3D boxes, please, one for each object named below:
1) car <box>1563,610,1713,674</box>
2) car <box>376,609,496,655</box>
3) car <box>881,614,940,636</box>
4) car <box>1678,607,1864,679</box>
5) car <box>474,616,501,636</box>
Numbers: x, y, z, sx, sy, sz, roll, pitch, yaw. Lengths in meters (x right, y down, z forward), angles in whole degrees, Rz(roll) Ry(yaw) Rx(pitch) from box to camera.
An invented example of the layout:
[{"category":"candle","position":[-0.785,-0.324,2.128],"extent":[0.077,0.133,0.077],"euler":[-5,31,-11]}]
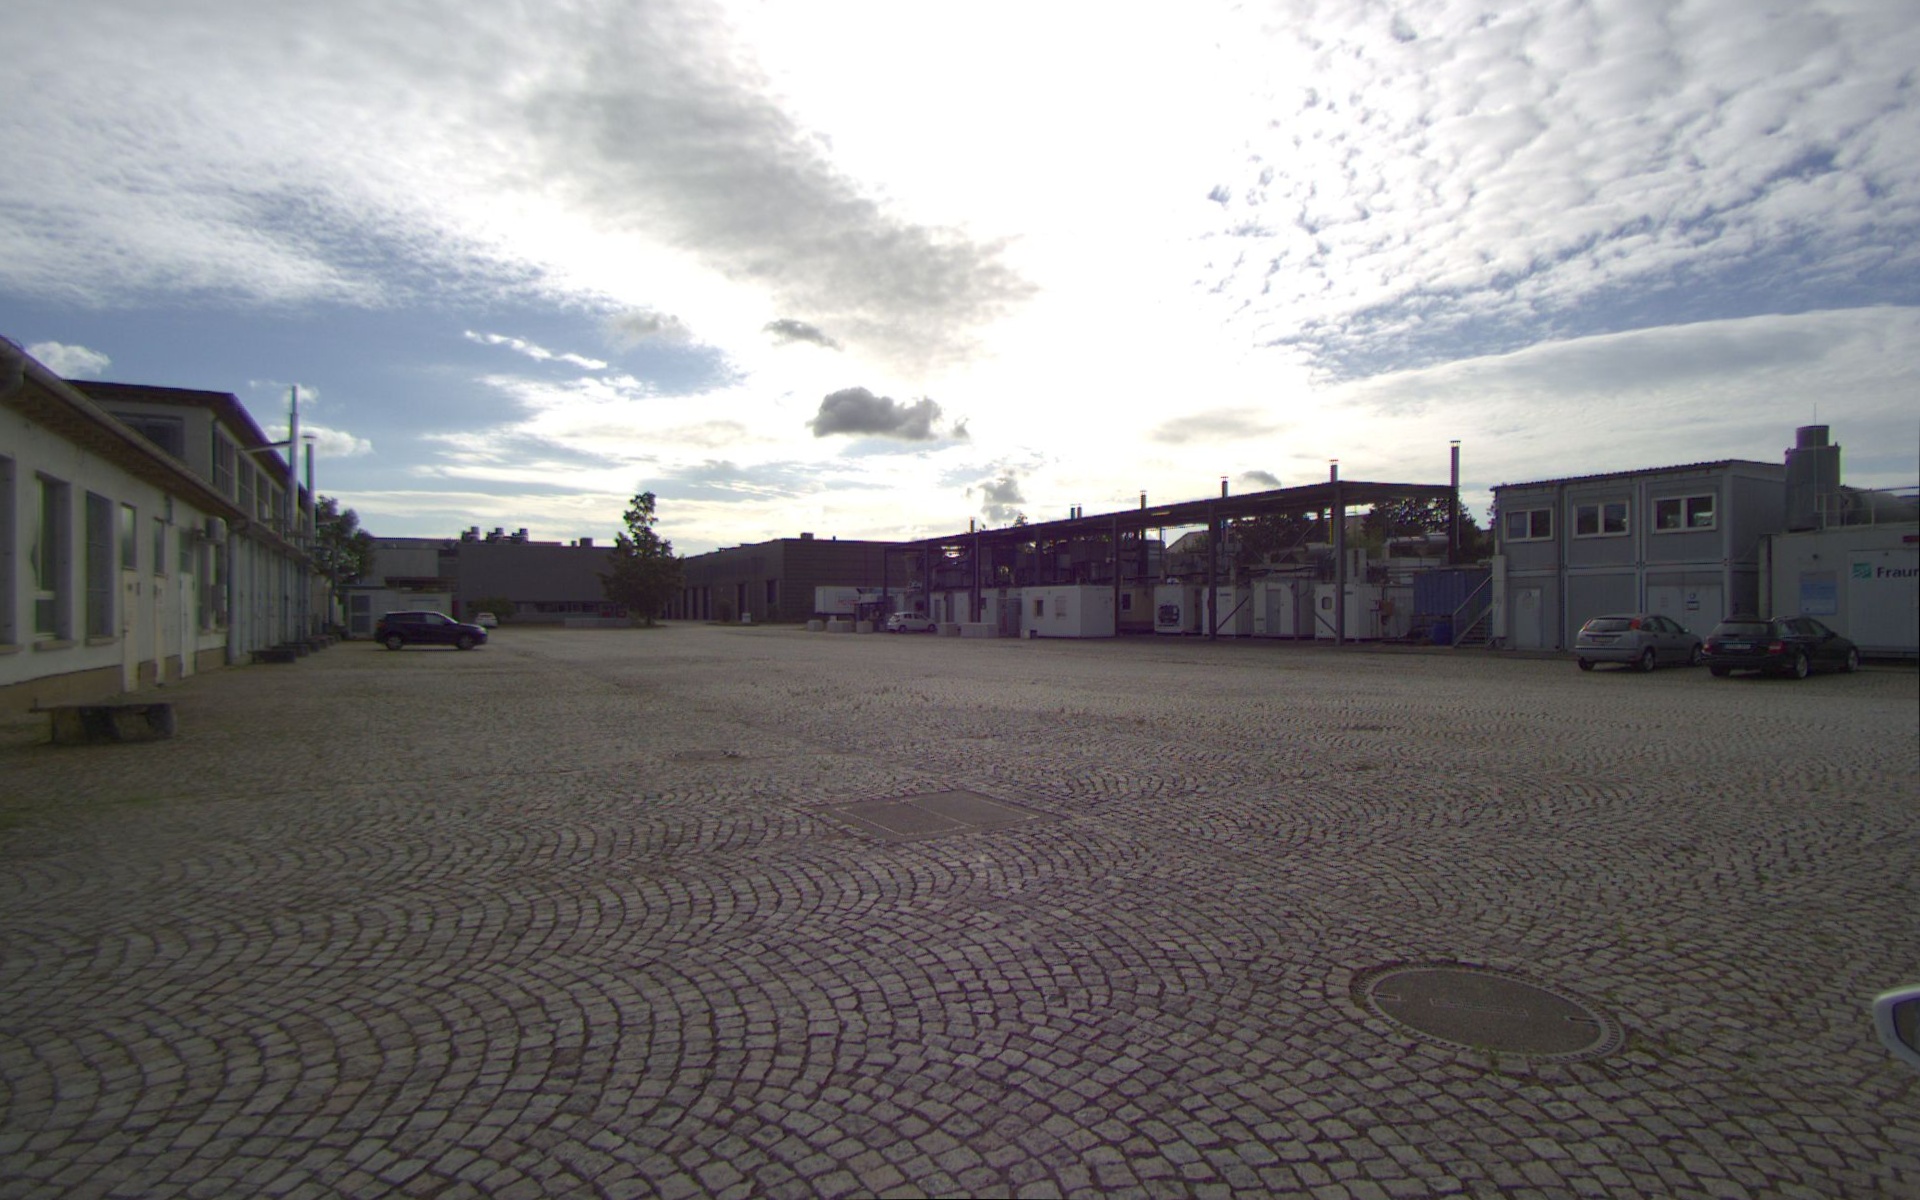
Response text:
[{"category":"car","position":[18.350,1.079,27.170],"extent":[4.001,1.495,1.896],"euler":[-2,0,-32]},{"category":"car","position":[-22.091,1.350,42.370],"extent":[4.384,1.779,1.985],"euler":[0,-3,-31]},{"category":"car","position":[-3.645,1.840,74.378],"extent":[3.954,1.512,1.984],"euler":[0,-1,-31]},{"category":"car","position":[19.685,0.979,24.357],"extent":[4.475,1.472,2.027],"euler":[-2,0,-30]},{"category":"car","position":[-45.815,2.492,97.360],"extent":[2.129,1.834,3.968],"euler":[0,-1,-30]}]
